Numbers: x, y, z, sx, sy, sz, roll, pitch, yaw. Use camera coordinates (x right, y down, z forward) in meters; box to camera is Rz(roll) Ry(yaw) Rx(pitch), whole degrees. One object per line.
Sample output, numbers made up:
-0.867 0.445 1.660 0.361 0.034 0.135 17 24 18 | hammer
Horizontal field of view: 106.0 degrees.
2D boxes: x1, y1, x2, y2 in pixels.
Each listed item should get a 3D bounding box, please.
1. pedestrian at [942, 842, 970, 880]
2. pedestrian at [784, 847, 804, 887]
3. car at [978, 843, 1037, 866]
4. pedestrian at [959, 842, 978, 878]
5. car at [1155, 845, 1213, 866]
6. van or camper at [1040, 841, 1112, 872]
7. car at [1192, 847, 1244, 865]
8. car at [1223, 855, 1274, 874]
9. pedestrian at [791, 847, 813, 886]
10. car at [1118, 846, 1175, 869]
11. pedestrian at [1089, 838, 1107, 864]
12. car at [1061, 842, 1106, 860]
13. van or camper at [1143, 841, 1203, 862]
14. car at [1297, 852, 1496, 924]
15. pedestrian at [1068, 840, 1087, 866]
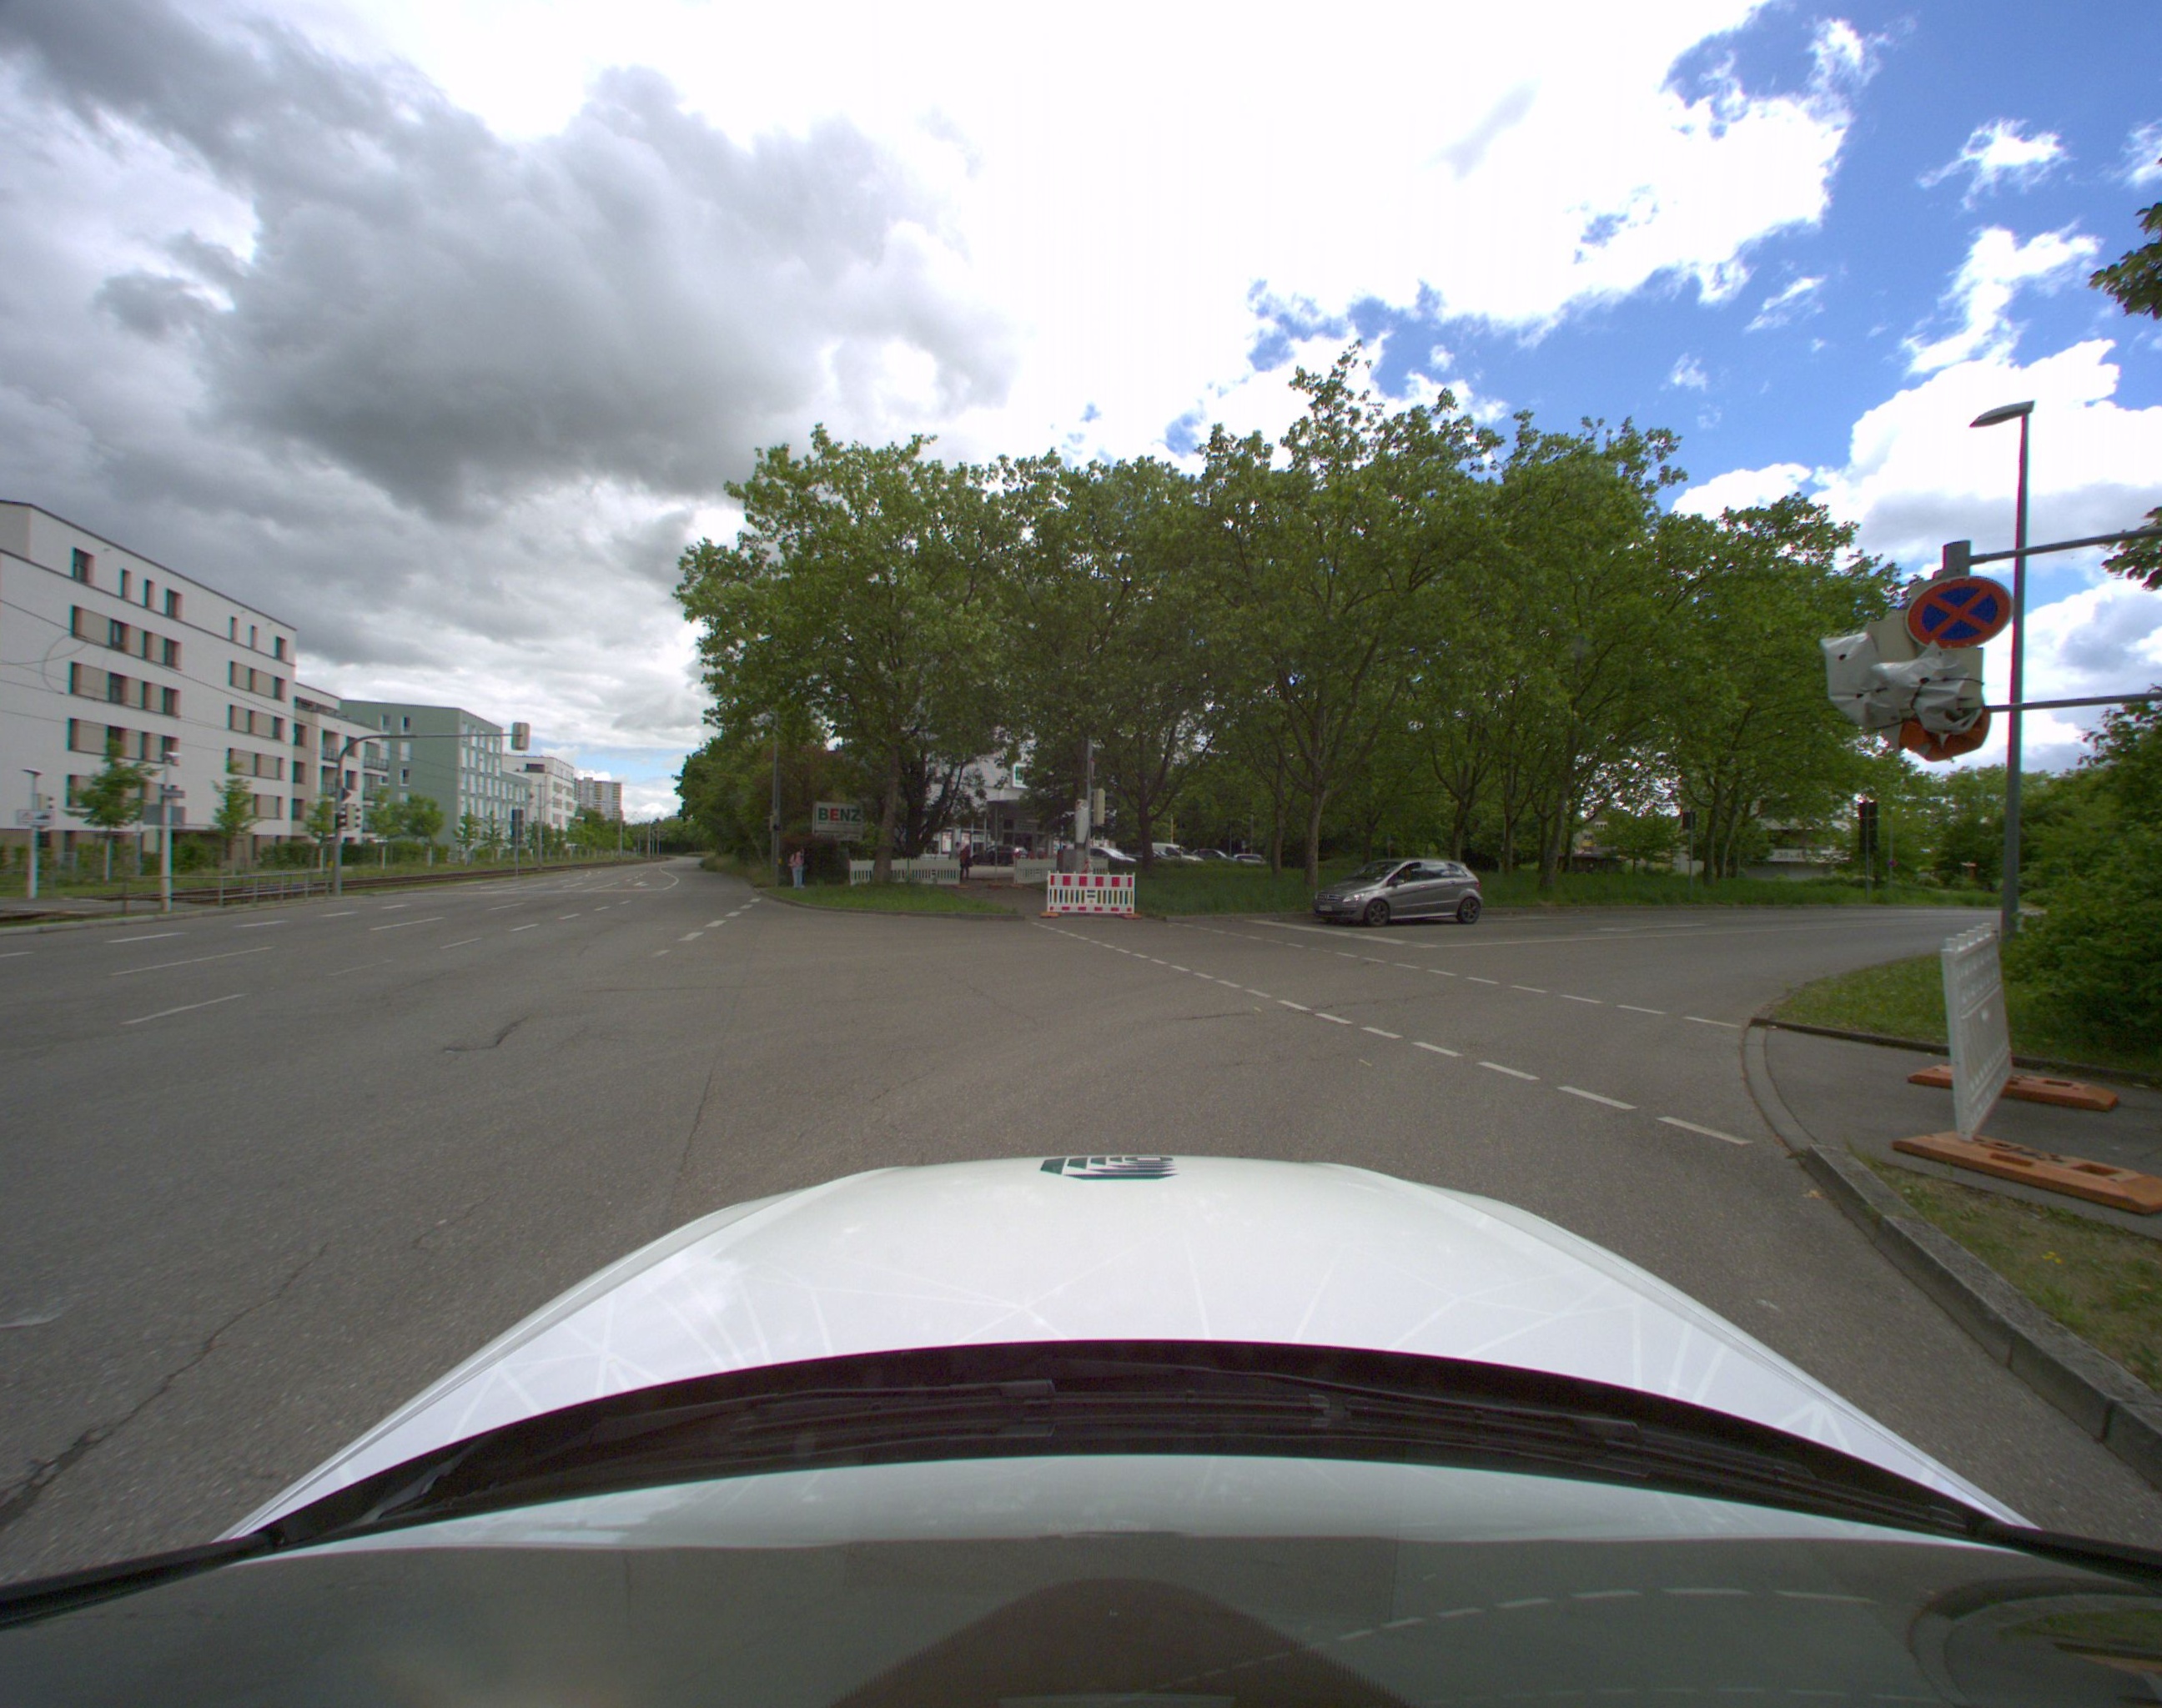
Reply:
-5.284 0.314 34.371 0.786 1.586 0.856 0 -1 26 | pedestrian
-10.857 0.485 30.811 0.687 1.489 0.695 1 -1 -17 | pedestrian
-5.078 0.042 56.018 4.215 1.500 1.744 -1 -1 44 | car
-4.908 0.271 35.521 0.768 1.539 0.654 0 -1 -3 | pedestrian
7.131 0.124 56.636 3.842 1.465 1.494 0 -1 40 | car
-0.334 0.142 46.630 3.950 1.684 1.857 0 0 43 | van or camper
9.833 0.138 58.550 3.207 1.255 1.705 0 -1 39 | car
13.469 0.855 65.480 3.698 1.500 1.744 -1 -1 44 | car
-10.832 0.485 31.644 0.718 1.489 0.697 0 -1 -10 | pedestrian
4.117 0.256 51.370 3.365 1.404 1.494 0 -1 41 | car
1.064 -0.157 50.235 0.798 1.586 0.792 1 -1 -28 | pedestrian
0.212 -0.210 64.008 3.365 1.404 1.494 0 -1 39 | car
6.077 -0.130 53.973 3.726 1.356 1.527 0 -1 37 | van or camper
7.576 0.782 19.615 4.410 1.586 1.761 1 -1 -19 | car
-0.257 -0.078 60.831 1.077 1.871 1.051 1 -1 -24 | pedestrian
